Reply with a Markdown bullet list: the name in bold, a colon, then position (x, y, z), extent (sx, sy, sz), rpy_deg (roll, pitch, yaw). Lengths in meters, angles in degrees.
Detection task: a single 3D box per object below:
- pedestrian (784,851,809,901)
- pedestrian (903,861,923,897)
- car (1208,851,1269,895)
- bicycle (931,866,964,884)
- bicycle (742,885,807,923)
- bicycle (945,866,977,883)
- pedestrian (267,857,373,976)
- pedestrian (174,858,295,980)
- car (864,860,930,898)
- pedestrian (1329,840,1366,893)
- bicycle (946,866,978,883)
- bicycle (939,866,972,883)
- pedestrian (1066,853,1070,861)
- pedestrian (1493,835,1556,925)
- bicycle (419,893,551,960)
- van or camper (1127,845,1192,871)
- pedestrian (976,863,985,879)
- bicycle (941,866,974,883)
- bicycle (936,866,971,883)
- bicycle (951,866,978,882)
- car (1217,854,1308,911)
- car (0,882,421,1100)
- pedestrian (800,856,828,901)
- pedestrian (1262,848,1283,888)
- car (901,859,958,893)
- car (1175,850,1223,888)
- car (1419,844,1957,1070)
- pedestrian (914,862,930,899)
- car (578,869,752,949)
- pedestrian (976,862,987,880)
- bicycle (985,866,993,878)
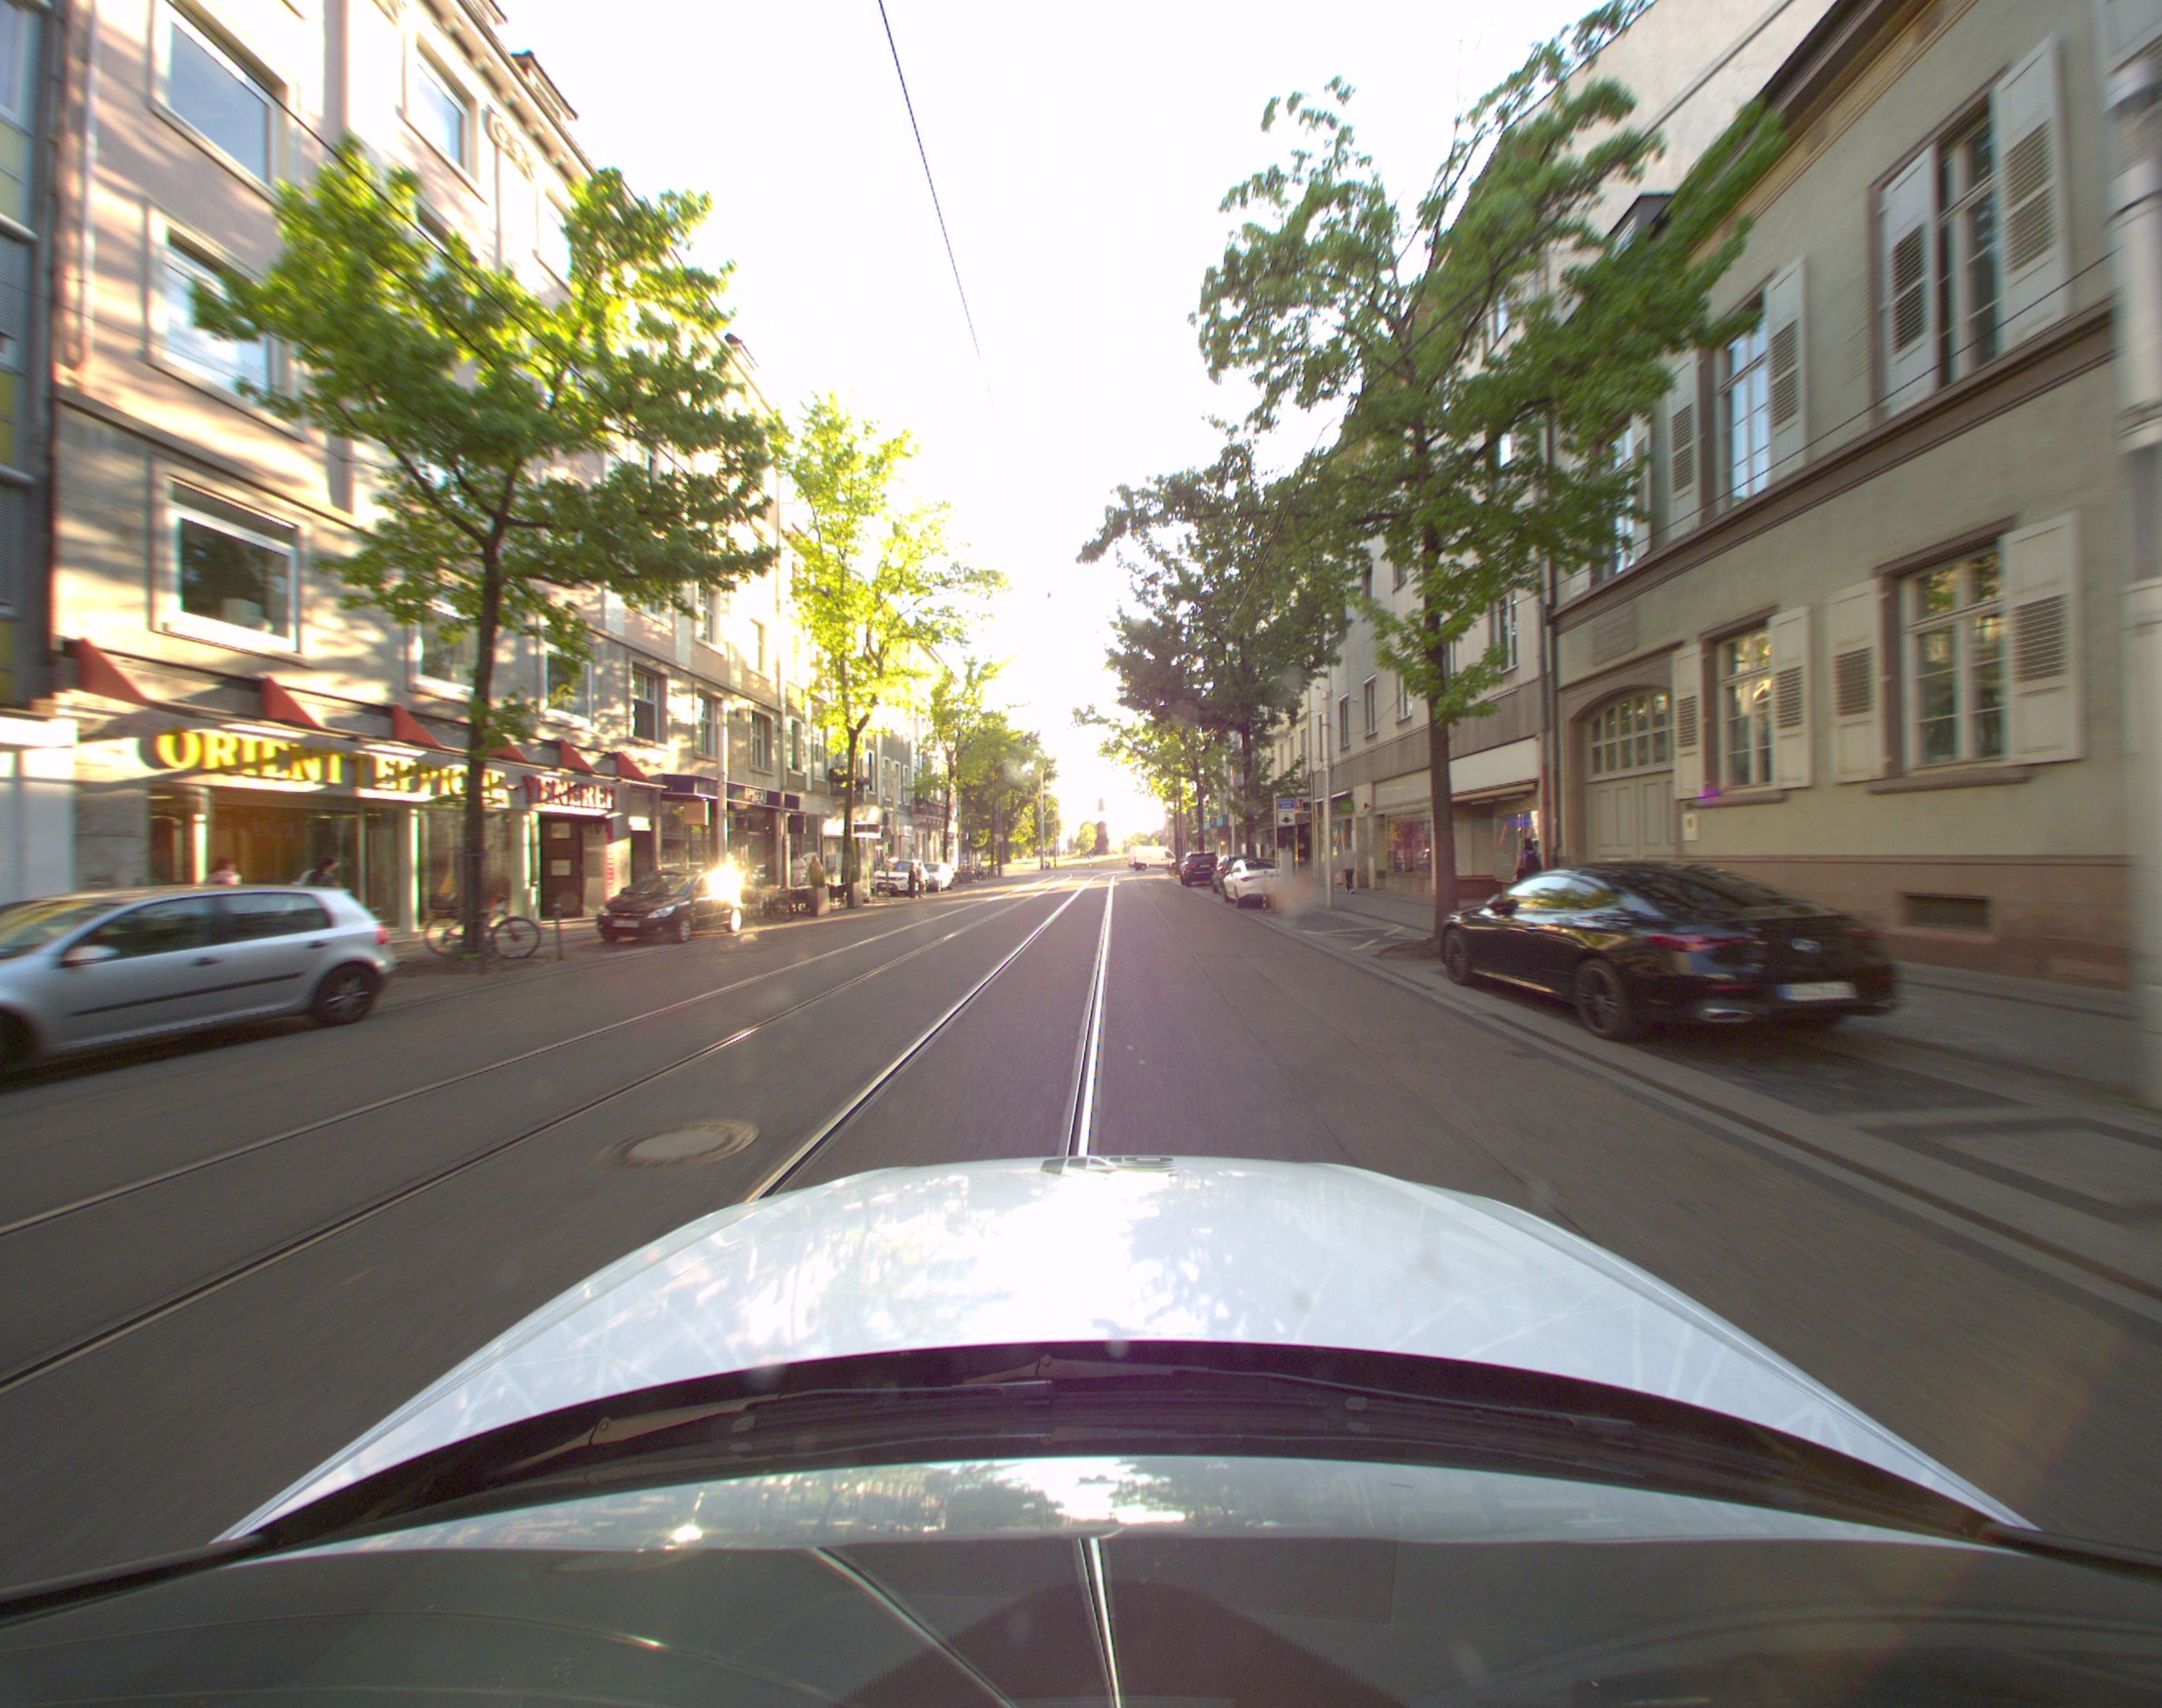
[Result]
- **pedestrian**: position (-11.628, 0.874, 33.289), extent (0.719, 2.013, 0.643), rpy_deg (-1, 0, 2)
- **pedestrian**: position (-7.097, 1.055, 34.446), extent (0.617, 1.509, 0.730), rpy_deg (-2, -1, 3)
- **car**: position (6.430, 0.745, 33.658), extent (1.770, 1.591, 3.893), rpy_deg (-5, 0, 2)
- **bicycle**: position (-8.311, 1.318, 50.770), extent (1.953, 1.105, 0.563), rpy_deg (1, -1, -23)
- **bicycle**: position (-8.285, 1.353, 21.991), extent (1.607, 0.965, 0.433), rpy_deg (1, 0, 7)
- **bicycle**: position (-7.986, 1.350, 54.383), extent (2.014, 1.105, 0.501), rpy_deg (1, -1, 4)
- **pedestrian**: position (-11.307, 0.908, 12.130), extent (0.840, 1.693, 0.740), rpy_deg (-1, 0, 1)
- **pedestrian**: position (-12.415, 0.923, 11.980), extent (0.786, 1.693, 0.914), rpy_deg (-1, 0, 1)
- **car**: position (-8.374, 1.101, 37.435), extent (1.829, 1.580, 4.119), rpy_deg (2, 0, 3)
- **pedestrian**: position (9.146, 0.420, 27.984), extent (0.855, 1.753, 0.933), rpy_deg (-4, 0, 2)
- **bicycle**: position (-7.851, 1.349, 53.792), extent (2.014, 1.105, 0.501), rpy_deg (1, -1, 4)
- **bicycle**: position (-8.047, 1.323, 52.317), extent (2.032, 1.105, 0.497), rpy_deg (1, -1, -23)
- **pedestrian**: position (-2.690, 0.570, 172.682), extent (0.768, 1.606, 0.637), rpy_deg (-1, 0, -5)
- **pedestrian**: position (8.649, 0.490, 15.903), extent (0.655, 1.665, 0.888), rpy_deg (-4, -1, 1)
- **bicycle**: position (-10.069, 1.217, 13.792), extent (1.807, 1.065, 0.439), rpy_deg (0, 0, -6)
- **van or camper**: position (8.170, 0.406, 85.303), extent (6.304, 2.472, 2.605), rpy_deg (-1, 0, -12)
- **pedestrian**: position (-7.717, 1.304, 62.320), extent (0.589, 1.194, 0.642), rpy_deg (0, 0, 0)
- **bicycle**: position (-8.027, 1.351, 52.917), extent (2.032, 1.105, 0.497), rpy_deg (1, -1, -23)
- **bicycle**: position (-8.089, 1.312, 51.692), extent (2.117, 1.105, 0.497), rpy_deg (1, -1, -23)
- **bicycle**: position (-7.901, 1.345, 55.253), extent (2.004, 1.105, 0.504), rpy_deg (0, -2, 37)
- **car**: position (5.662, 0.822, 25.956), extent (1.985, 1.498, 4.683), rpy_deg (-4, 0, 3)
- **car**: position (-8.558, 1.060, 7.162), extent (1.757, 1.497, 4.184), rpy_deg (-1, -1, 8)
- **pedestrian**: position (-10.841, 0.982, 33.087), extent (0.719, 1.760, 1.090), rpy_deg (-1, 0, 2)
- **pedestrian**: position (8.281, 0.595, 35.181), extent (0.641, 1.670, 0.786), rpy_deg (-4, 0, 2)
- **car**: position (-7.849, 1.109, 42.623), extent (1.829, 1.580, 4.705), rpy_deg (2, 0, 3)
- **car**: position (6.237, 0.760, 43.437), extent (1.931, 1.759, 4.682), rpy_deg (-5, 0, 2)
- **car**: position (5.223, 0.725, 8.072), extent (1.826, 1.478, 4.763), rpy_deg (-3, 0, 2)
- **pedestrian**: position (-6.855, 1.122, 35.197), extent (0.519, 1.569, 0.634), rpy_deg (-2, -1, 3)
- **car**: position (-8.821, 1.096, 17.668), extent (1.659, 1.428, 3.829), rpy_deg (2, 0, 2)
- **pedestrian**: position (-7.407, 1.277, 60.668), extent (0.725, 1.290, 0.856), rpy_deg (0, 0, 0)
- **bicycle**: position (-7.448, 1.427, 65.979), extent (0.335, 0.946, 1.511), rpy_deg (-1, 0, 3)
